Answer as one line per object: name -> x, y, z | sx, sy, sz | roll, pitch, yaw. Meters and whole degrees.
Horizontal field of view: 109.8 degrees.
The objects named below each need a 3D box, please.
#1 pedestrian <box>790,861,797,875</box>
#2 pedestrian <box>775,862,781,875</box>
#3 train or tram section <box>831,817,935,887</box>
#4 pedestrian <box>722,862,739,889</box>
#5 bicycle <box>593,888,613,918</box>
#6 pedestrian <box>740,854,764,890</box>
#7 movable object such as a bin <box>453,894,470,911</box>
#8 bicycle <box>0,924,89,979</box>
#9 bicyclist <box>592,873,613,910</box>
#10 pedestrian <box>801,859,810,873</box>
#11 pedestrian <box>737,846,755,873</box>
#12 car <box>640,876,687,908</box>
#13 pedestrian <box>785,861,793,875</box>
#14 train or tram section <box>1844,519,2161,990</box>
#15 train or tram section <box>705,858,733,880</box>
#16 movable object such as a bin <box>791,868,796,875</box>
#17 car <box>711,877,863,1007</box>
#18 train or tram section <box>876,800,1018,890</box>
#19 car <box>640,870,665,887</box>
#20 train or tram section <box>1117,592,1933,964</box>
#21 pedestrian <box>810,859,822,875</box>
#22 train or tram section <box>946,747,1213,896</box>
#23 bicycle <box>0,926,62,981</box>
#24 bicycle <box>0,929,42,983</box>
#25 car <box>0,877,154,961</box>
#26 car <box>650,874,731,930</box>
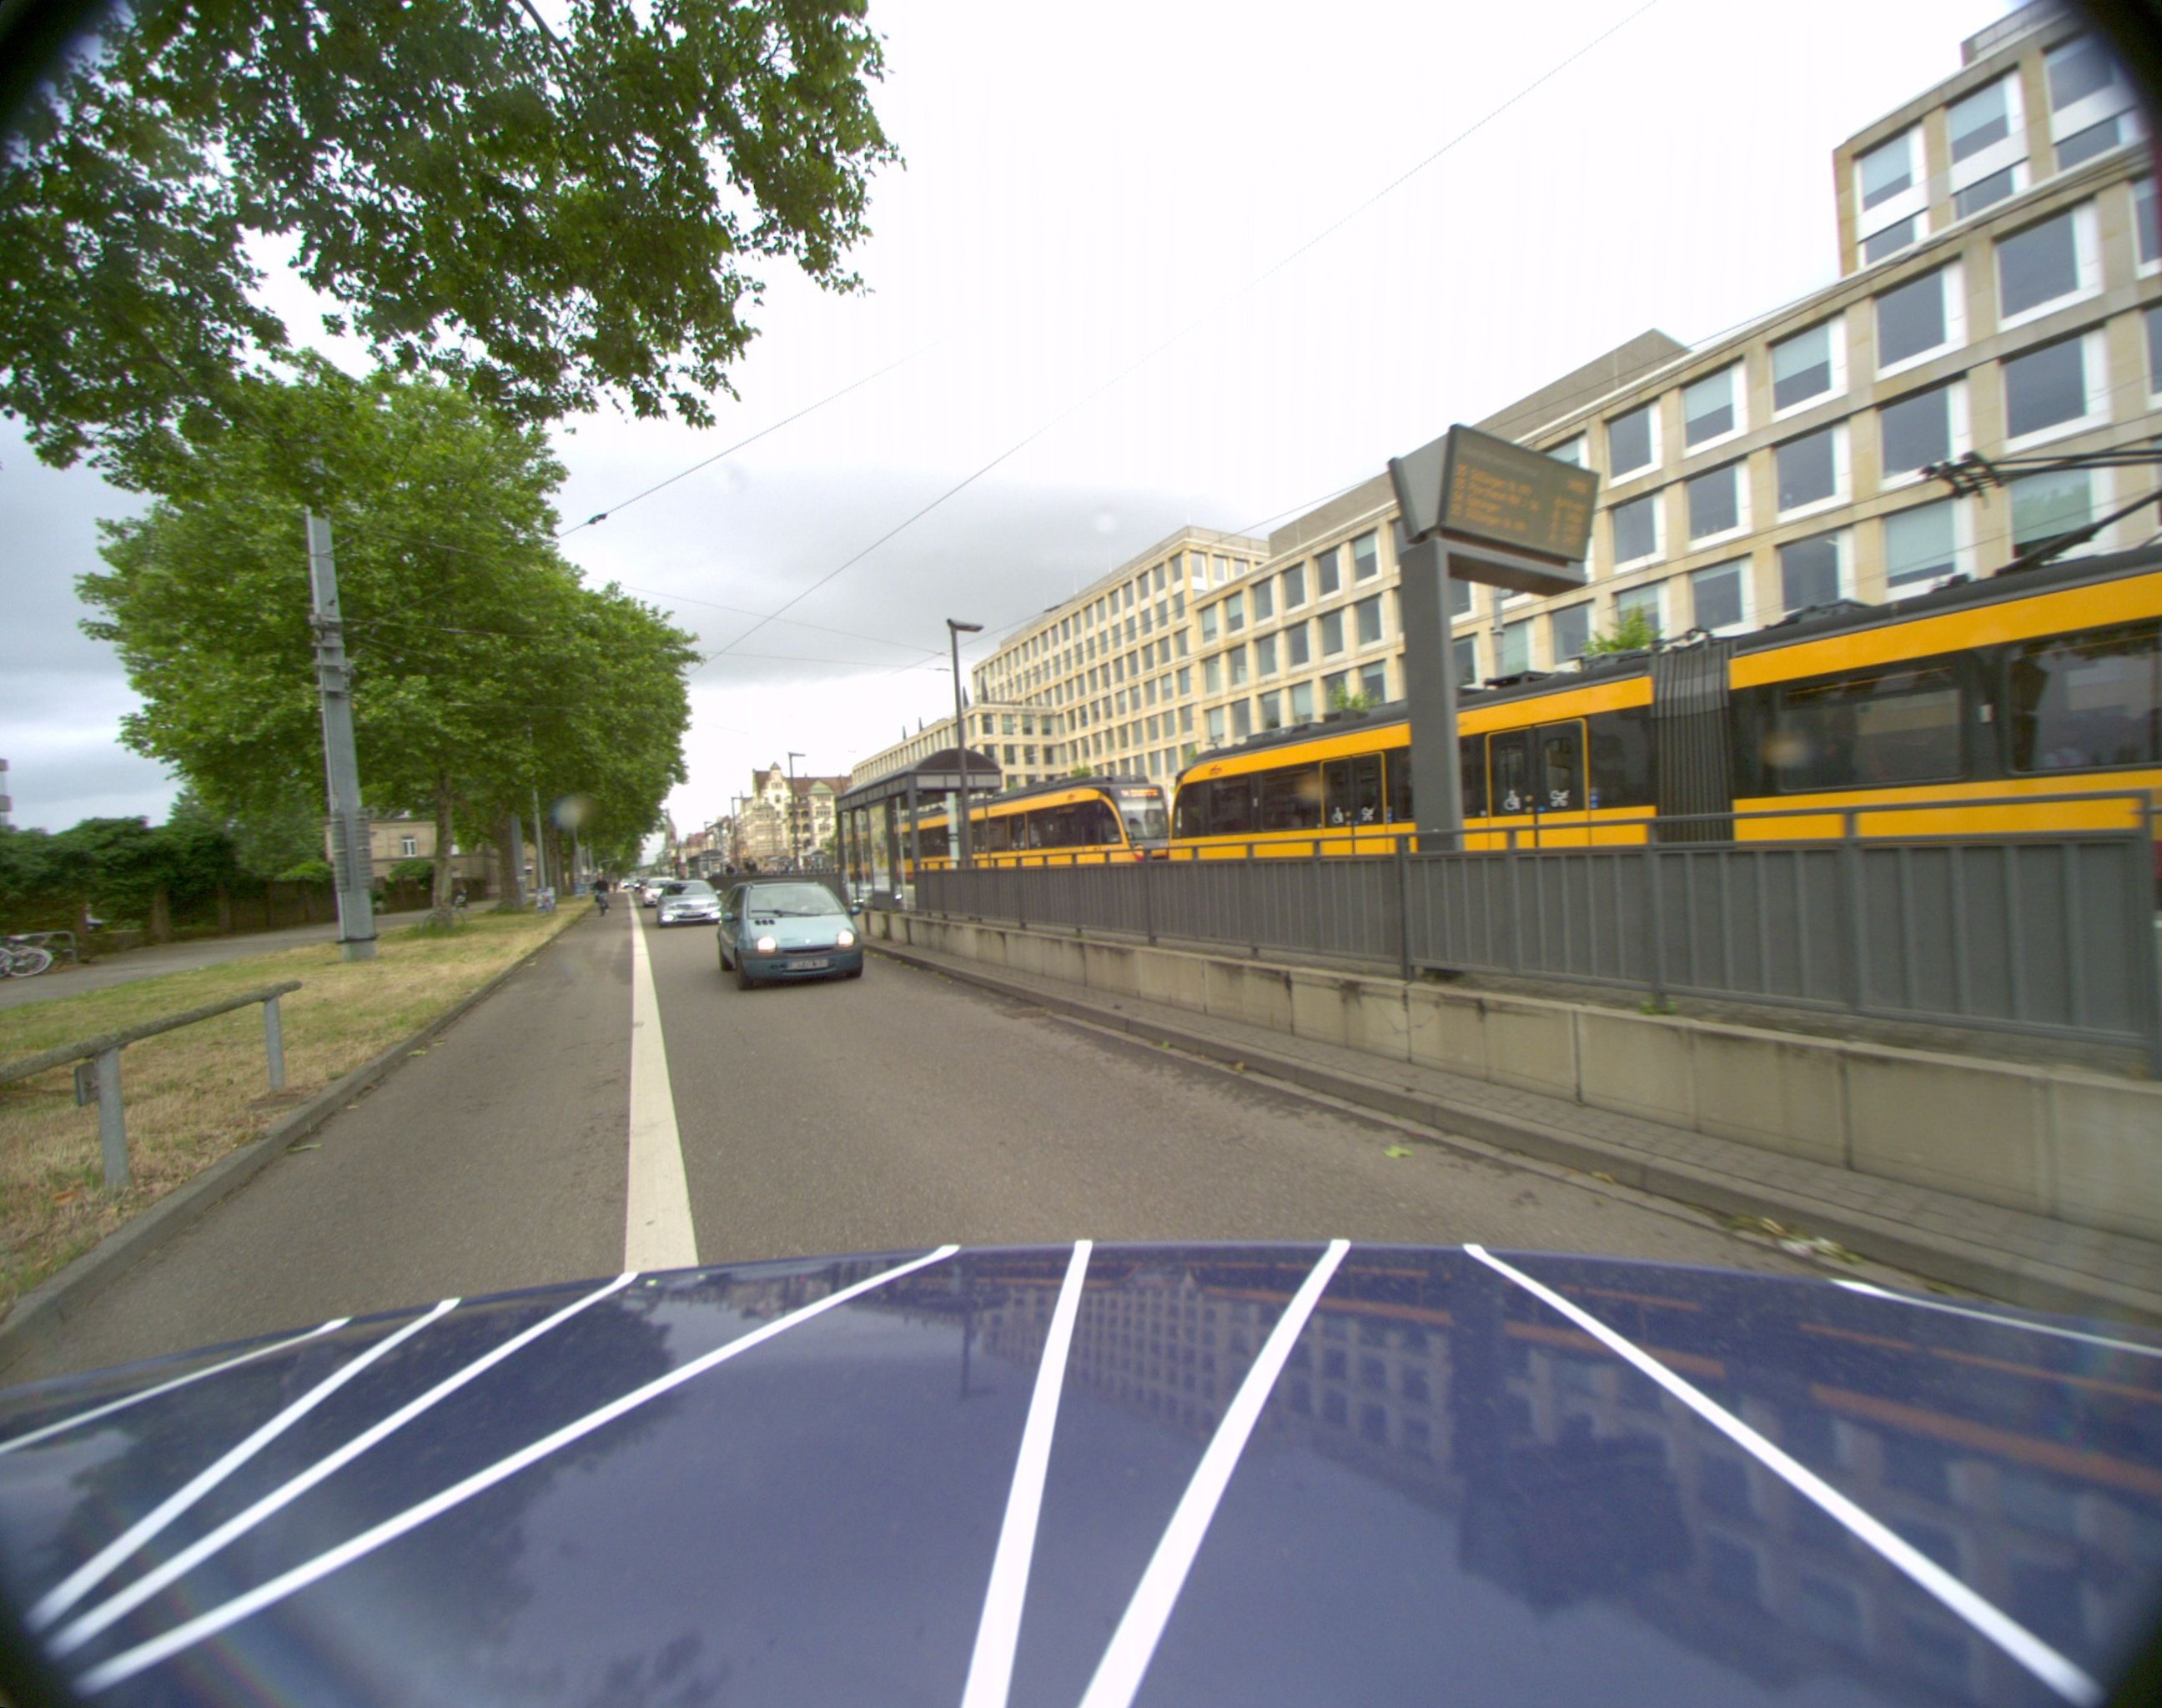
pedestrian -> -34.071, 1.634, 90.034 | 0.537, 1.598, 0.564 | -4, 2, -24
pedestrian -> -40.500, 1.940, 101.649 | 0.598, 1.759, 0.587 | -4, 2, -24
train or tram section -> -12.923, -0.068, 48.554 | 3.252, 3.840, 11.285 | -4, 2, -30
pedestrian -> -23.751, 1.433, 51.536 | 0.673, 1.783, 1.110 | -5, 2, -39
bicycle -> -20.591, 2.075, 32.724 | 0.655, 1.143, 2.277 | -4, 2, -32
pedestrian -> -19.018, 1.037, 43.923 | 1.063, 2.002, 0.838 | -4, 2, -30
movable object such as a bin -> -42.202, 3.306, 51.786 | 0.614, 1.106, 1.013 | -4, 1, -25
bicycle -> -24.017, 2.222, 17.126 | 1.899, 1.098, 0.548 | -2, 1, -32
bicyclist -> -20.646, 1.610, 32.765 | 0.644, 1.522, 0.663 | -5, 2, -33
pedestrian -> -32.528, 1.400, 89.742 | 0.655, 1.598, 0.580 | -3, 2, 26
pedestrian -> -23.486, 0.387, 53.268 | 0.673, 1.783, 1.110 | -5, 2, -44
car -> -22.440, 1.981, 40.739 | 2.003, 1.443, 4.091 | -4, 2, -30
pedestrian -> -37.183, 1.756, 96.865 | 0.596, 1.759, 0.589 | -3, 2, 22
train or tram section -> 13.635, -1.022, 2.926 | 3.195, 4.155, 14.699 | -4, 2, -30
train or tram section -> -64.517, 2.628, 135.220 | 2.868, 3.671, 13.488 | -4, 2, -32
movable object such as a bin -> -34.256, 2.096, 90.518 | 0.537, 0.743, 0.468 | -4, 2, -24
car -> -4.428, 1.136, 11.169 | 1.538, 1.464, 3.346 | -3, 1, -29
train or tram section -> -7.218, -0.358, 38.728 | 3.178, 3.840, 11.285 | -4, 2, -30
car -> -43.449, 2.459, 77.009 | 2.003, 1.443, 4.091 | -4, 2, -30
train or tram section -> 6.204, -0.840, 15.650 | 3.195, 4.155, 14.699 | -4, 2, -30
pedestrian -> -30.518, 1.483, 87.412 | 1.043, 1.677, 0.937 | -4, 2, -28
train or tram section -> -0.937, -0.915, 27.884 | 3.195, 4.155, 13.588 | -4, 2, -30
bicycle -> -23.811, 2.209, 16.498 | 1.909, 1.091, 0.548 | -2, 1, -32
bicycle -> -23.539, 2.211, 15.919 | 1.984, 1.088, 0.548 | -2, 1, -32
car -> -35.454, 2.251, 25.286 | 5.256, 2.408, 2.070 | -7, 3, -33
car -> -12.676, 1.472, 24.544 | 2.003, 1.443, 4.091 | -4, 2, -30
